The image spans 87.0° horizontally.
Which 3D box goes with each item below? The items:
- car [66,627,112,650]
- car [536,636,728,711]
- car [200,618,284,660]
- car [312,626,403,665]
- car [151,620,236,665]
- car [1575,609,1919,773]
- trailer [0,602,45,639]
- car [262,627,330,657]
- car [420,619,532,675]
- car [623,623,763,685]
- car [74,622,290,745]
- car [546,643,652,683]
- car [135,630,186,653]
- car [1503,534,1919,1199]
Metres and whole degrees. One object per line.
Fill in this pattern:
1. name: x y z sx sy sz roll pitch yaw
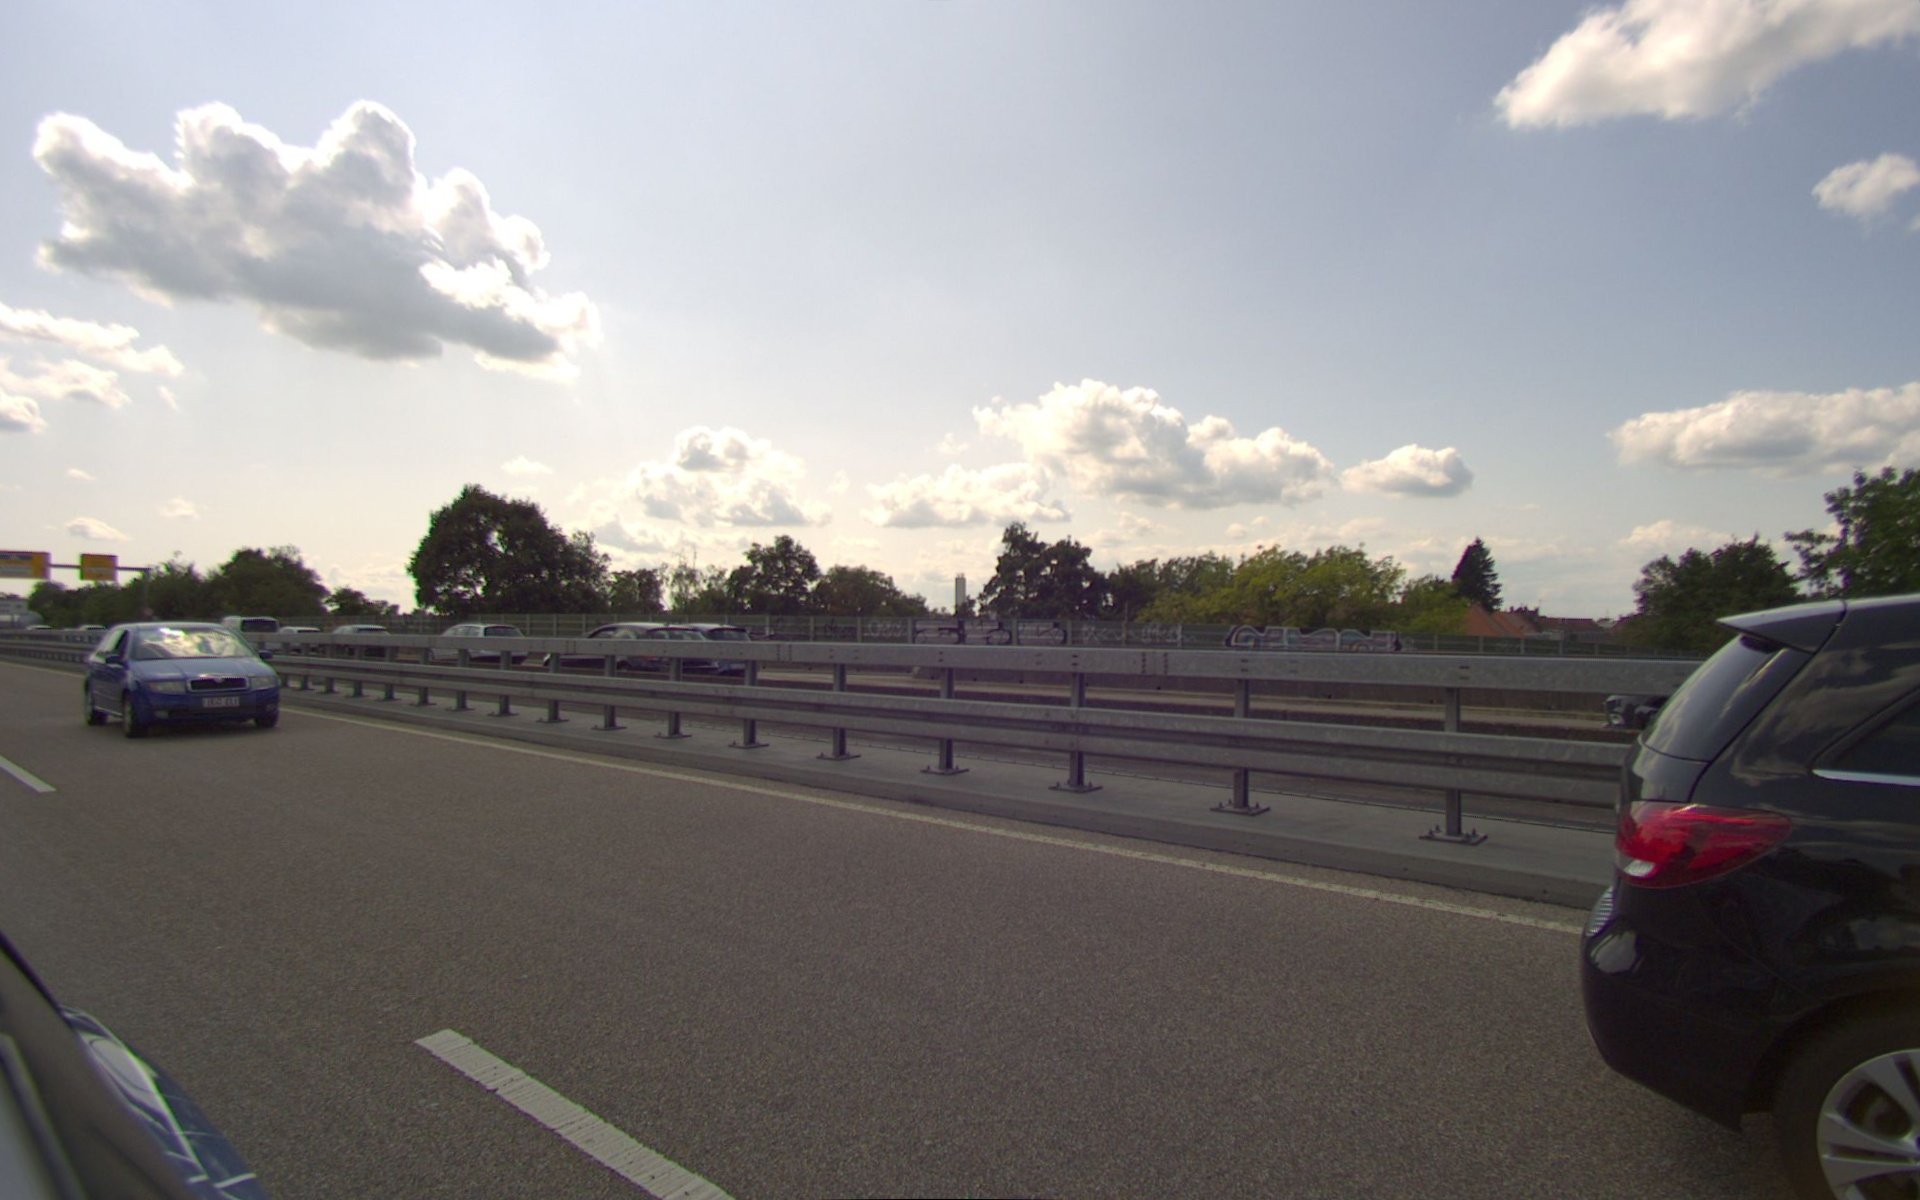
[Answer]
1. car: -63.493 2.786 73.759 3.883 1.586 1.905 -1 0 39
2. car: -6.362 1.347 19.446 3.997 1.194 1.664 -1 0 40
3. car: -35.255 1.916 49.649 5.184 1.940 1.941 -2 0 38
4. car: -23.630 1.766 39.645 4.042 1.400 1.767 -2 -1 38
5. car: -29.650 1.601 39.099 4.055 1.583 1.659 -1 0 38
6. car: 9.575 0.951 11.687 3.997 1.651 1.803 -1 0 40
7. trailer: -98.353 2.092 105.771 11.022 3.697 2.657 -1 0 41
8. car: -36.257 2.261 55.203 4.278 1.586 1.905 -1 -2 39
9. car: -16.065 1.546 33.490 4.405 1.724 1.567 -2 -1 38
10. car: -6.898 1.364 26.037 3.626 1.486 1.582 -1 -4 38
11. car: -10.746 1.037 13.886 3.769 1.422 1.605 -1 0 40
12. car: -14.094 2.410 39.437 3.980 1.397 1.633 -1 0 27
13. car: -55.834 2.877 70.671 4.278 1.586 1.905 -1 -2 39
14. car: 3.652 0.609 1.687 4.589 1.539 1.694 -1 0 40
